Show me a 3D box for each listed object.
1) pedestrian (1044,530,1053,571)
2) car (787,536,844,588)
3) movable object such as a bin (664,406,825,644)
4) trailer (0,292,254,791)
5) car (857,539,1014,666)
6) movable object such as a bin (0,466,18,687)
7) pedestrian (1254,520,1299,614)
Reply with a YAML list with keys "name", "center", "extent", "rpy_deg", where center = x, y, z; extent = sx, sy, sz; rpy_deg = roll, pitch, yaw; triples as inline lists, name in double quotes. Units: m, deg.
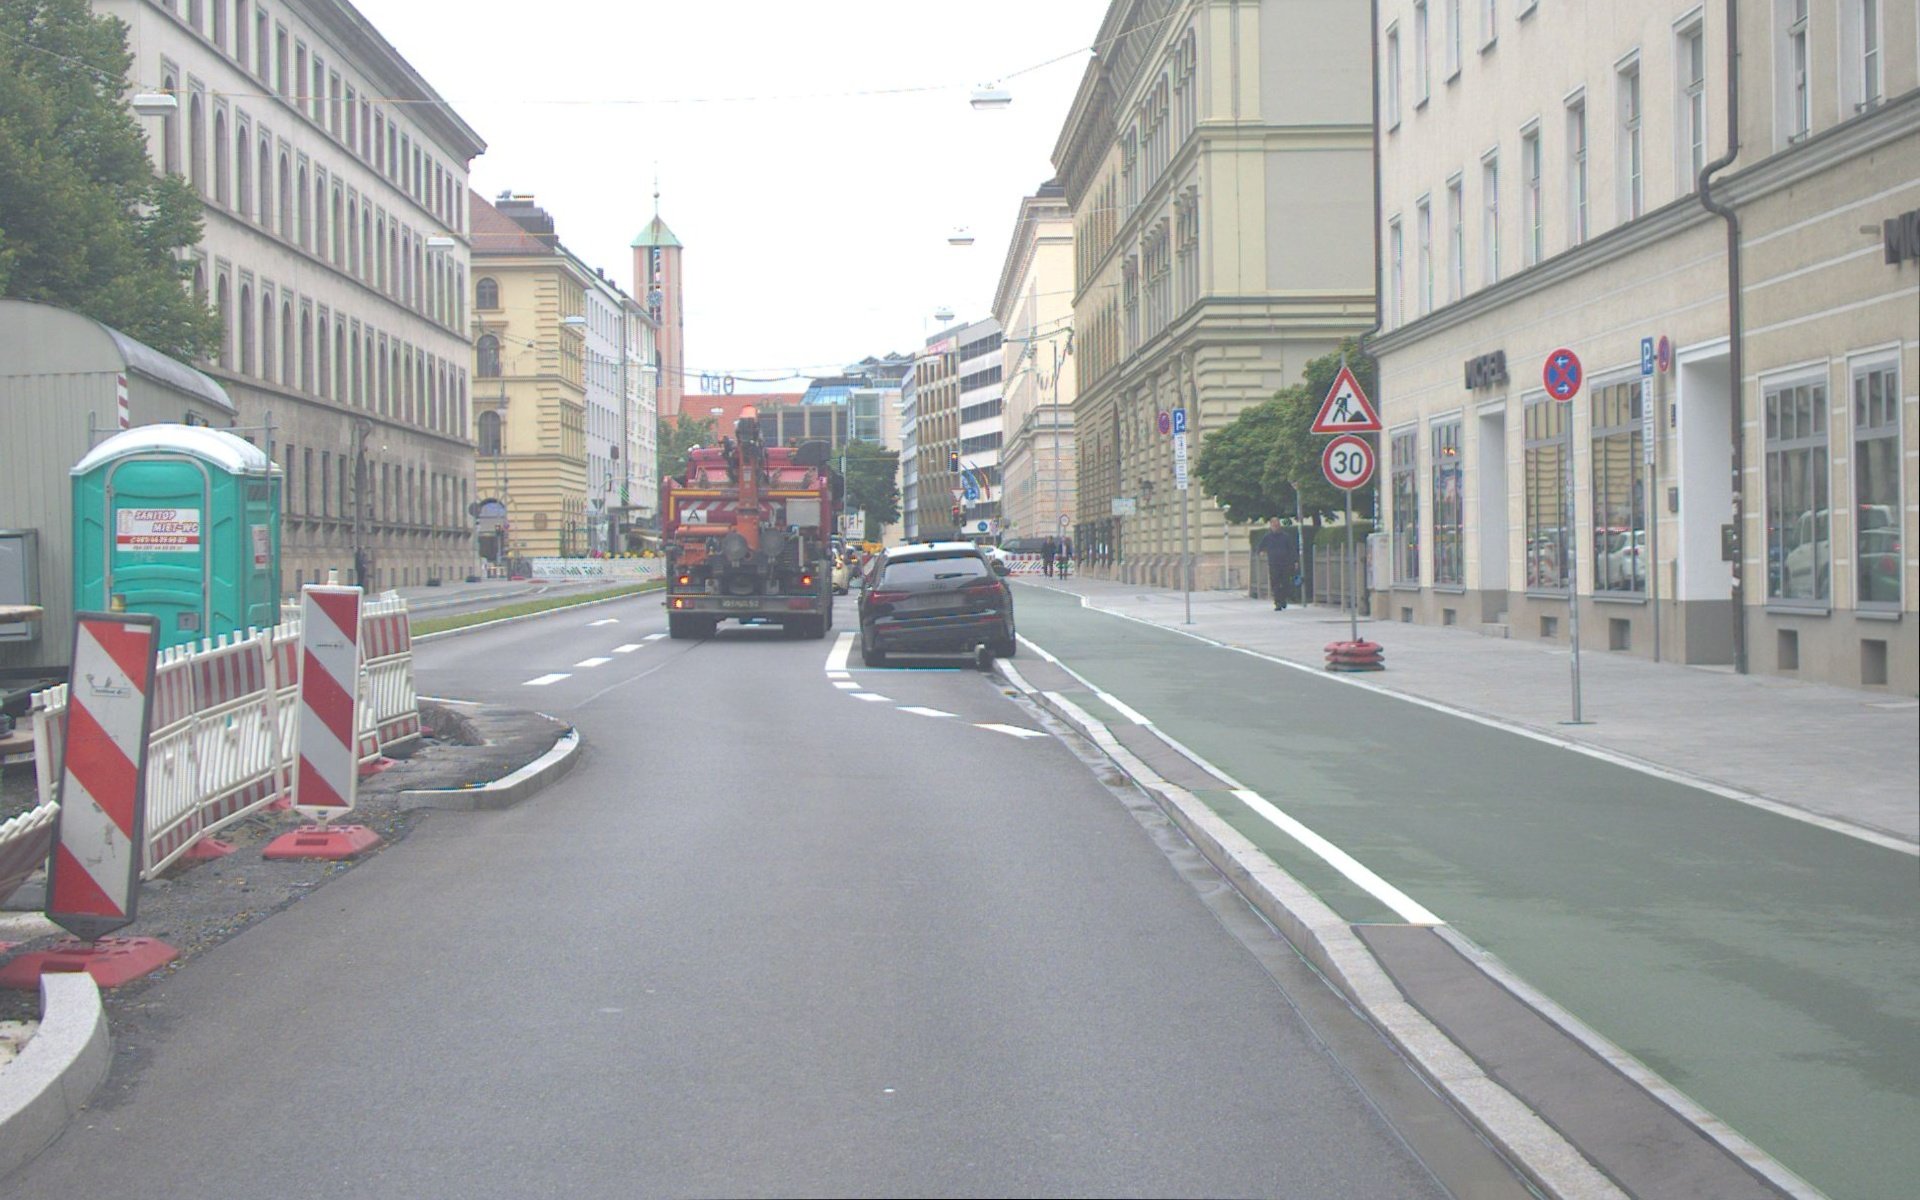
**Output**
- name: "pedestrian"
  center: [3.581, -2.006, 139.621]
  extent: [0.337, 1.666, 0.440]
  rpy_deg: [0, 1, 0]
- name: "car"
  center: [-4.256, -1.138, 101.869]
  extent: [1.610, 1.490, 3.425]
  rpy_deg: [0, 1, -1]
- name: "movable object such as a bin"
  center: [-3.379, -1.192, 55.099]
  extent: [2.423, 3.599, 5.852]
  rpy_deg: [0, 1, -2]
- name: "trailer"
  center: [-6.884, -0.437, 26.037]
  extent: [2.226, 3.232, 7.521]
  rpy_deg: [-1, 1, -6]
- name: "car"
  center: [-0.360, -0.016, 43.359]
  extent: [1.801, 1.475, 4.687]
  rpy_deg: [-1, 1, -2]
- name: "movable object such as a bin"
  center: [-12.087, -0.236, 38.330]
  extent: [1.924, 2.563, 4.493]
  rpy_deg: [0, 1, 0]
- name: "pedestrian"
  center: [6.262, -0.660, 67.979]
  extent: [0.790, 1.830, 0.777]
  rpy_deg: [-1, 1, 0]
